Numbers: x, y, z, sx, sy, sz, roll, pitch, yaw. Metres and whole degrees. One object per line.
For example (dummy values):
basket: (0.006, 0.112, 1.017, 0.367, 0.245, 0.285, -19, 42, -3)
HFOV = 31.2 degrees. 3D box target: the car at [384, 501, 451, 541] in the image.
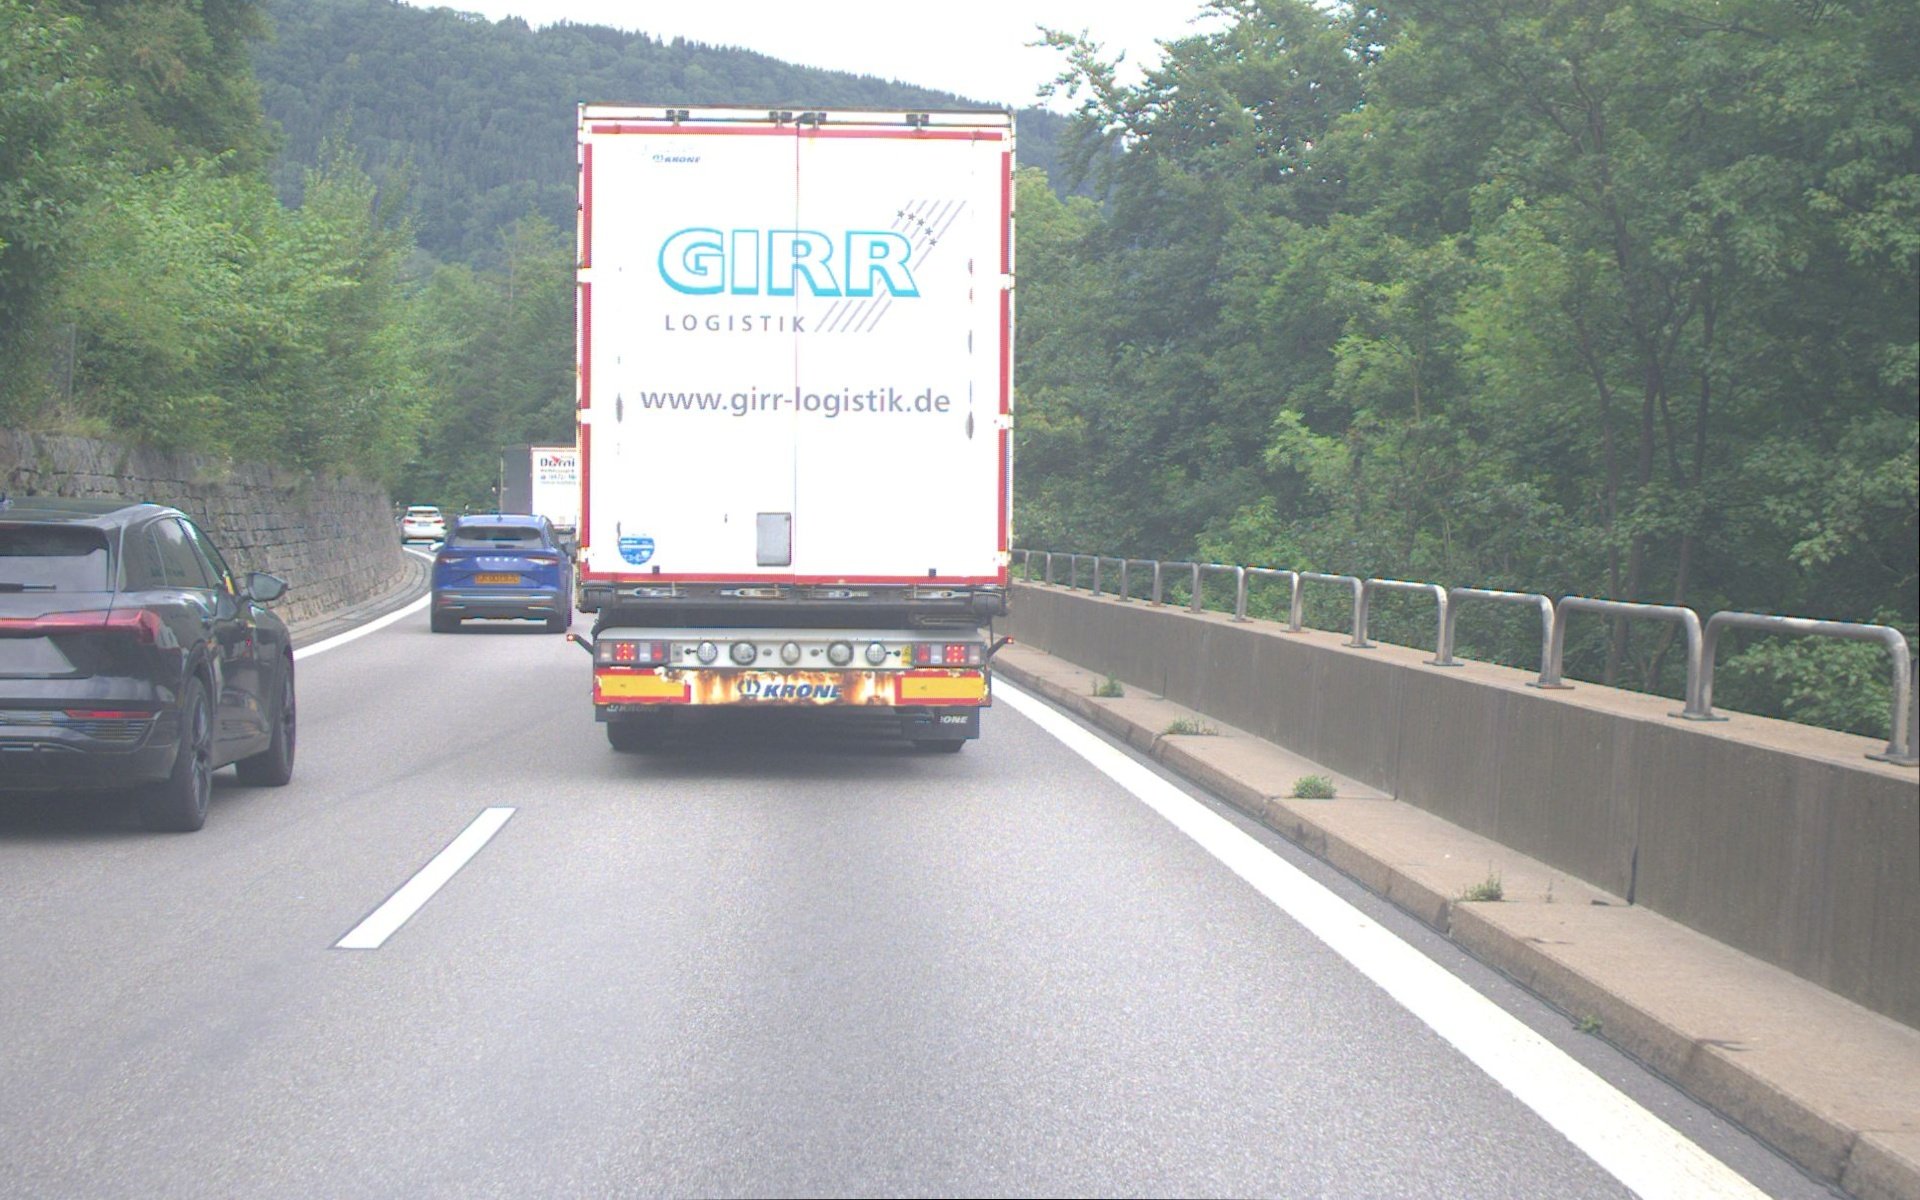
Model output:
car: (-22.879, -3.340, 144.923, 1.896, 1.545, 4.251, 1, 1, -21)

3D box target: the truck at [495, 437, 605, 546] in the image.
truck: (-15.408, -3.985, 128.437, 2.633, 3.844, 12.363, 0, 1, -13)

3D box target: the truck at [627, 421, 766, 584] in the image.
truck: (-4.927, -1.787, 63.659, 2.208, 2.841, 5.005, 1, 1, -8)

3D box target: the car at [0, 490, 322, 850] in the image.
car: (-4.672, 0.263, 18.021, 1.993, 1.626, 5.009, 0, 1, -3)

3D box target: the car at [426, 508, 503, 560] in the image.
car: (-16.321, -2.192, 113.116, 1.993, 1.590, 4.355, -1, 2, -15)

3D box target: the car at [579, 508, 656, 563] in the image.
car: (-10.672, -2.010, 107.020, 2.060, 1.648, 4.001, 0, 1, -10)

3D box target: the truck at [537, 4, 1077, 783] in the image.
truck: (-1.380, -1.333, 27.331, 3.084, 4.448, 15.158, 0, 1, -4)

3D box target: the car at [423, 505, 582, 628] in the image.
car: (-6.343, -0.503, 48.094, 1.993, 1.626, 5.009, 0, 1, -5)
